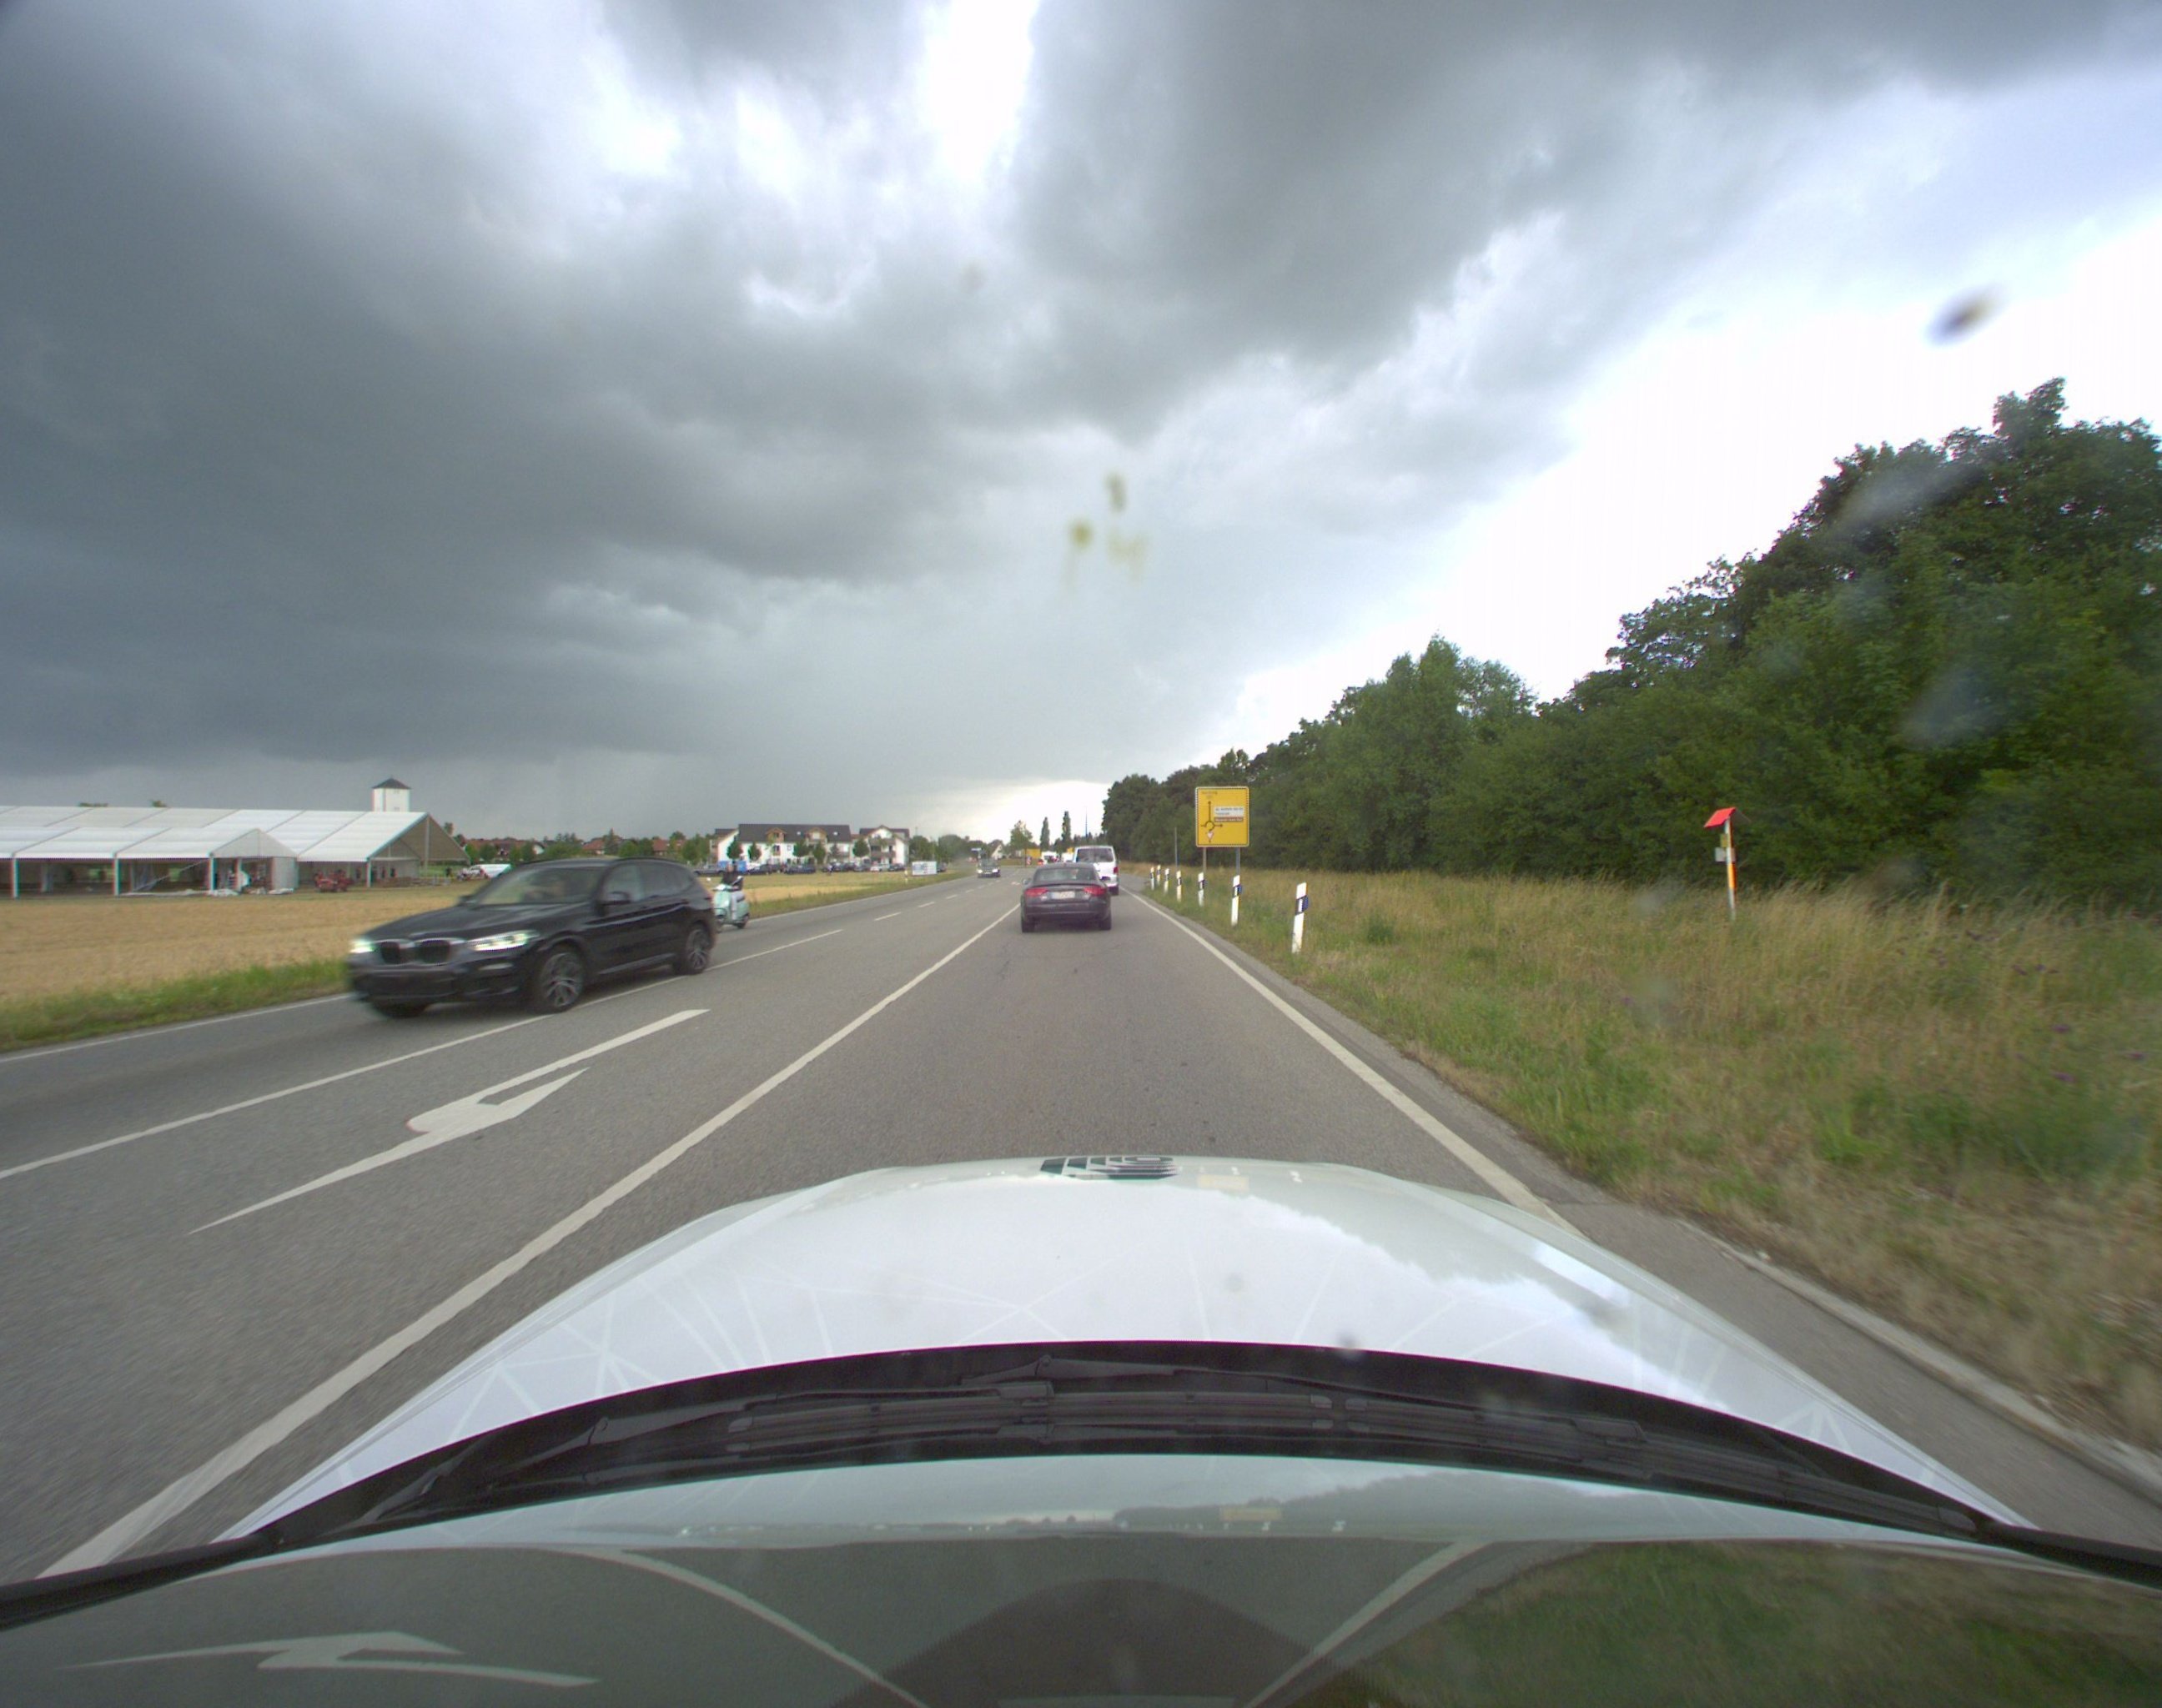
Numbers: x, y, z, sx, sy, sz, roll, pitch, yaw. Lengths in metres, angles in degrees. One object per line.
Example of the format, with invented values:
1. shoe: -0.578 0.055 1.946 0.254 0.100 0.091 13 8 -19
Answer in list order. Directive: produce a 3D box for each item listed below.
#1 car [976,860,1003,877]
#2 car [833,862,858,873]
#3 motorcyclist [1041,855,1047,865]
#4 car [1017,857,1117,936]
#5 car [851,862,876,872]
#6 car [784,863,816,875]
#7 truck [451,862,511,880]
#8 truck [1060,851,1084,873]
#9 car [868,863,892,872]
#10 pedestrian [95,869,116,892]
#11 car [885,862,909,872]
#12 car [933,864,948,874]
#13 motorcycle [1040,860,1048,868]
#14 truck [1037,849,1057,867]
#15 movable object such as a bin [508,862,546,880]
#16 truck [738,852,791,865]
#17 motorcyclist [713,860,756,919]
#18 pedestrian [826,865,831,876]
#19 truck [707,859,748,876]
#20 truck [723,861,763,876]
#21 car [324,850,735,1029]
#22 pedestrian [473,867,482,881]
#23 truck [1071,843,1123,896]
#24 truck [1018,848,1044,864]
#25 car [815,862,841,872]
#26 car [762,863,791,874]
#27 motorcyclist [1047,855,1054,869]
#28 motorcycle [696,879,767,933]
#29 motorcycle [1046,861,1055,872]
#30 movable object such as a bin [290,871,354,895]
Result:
1. car: -8.048 1.276 71.618 1.821 1.410 4.423 -2 0 0
2. car: -39.025 2.189 134.898 1.978 1.629 4.230 -1 0 17
3. motorcyclist: -5.019 0.771 110.586 0.785 1.356 0.851 -1 -1 -8
4. car: -0.334 0.816 17.607 1.870 1.454 4.174 -2 0 -2
5. car: -35.862 2.182 134.553 1.978 1.536 4.230 -1 0 17
6. car: -43.778 2.370 126.896 4.734 1.697 1.985 -1 -1 -22
7. truck: -79.082 2.232 107.444 6.080 2.217 2.695 -1 -1 -29
8. truck: -0.870 0.762 76.474 2.187 2.014 5.082 -1 0 -1
9. car: -33.096 2.195 134.238 1.978 1.446 4.230 -1 0 17
10. pedestrian: -90.933 2.485 75.924 0.863 2.102 0.939 -1 -1 -3
11. car: -30.197 2.155 133.938 1.978 1.446 4.230 -1 0 17
12. car: -21.081 2.206 121.970 1.995 1.442 3.983 -1 0 -12
13. motorcycle: -5.043 1.340 110.644 0.943 1.019 2.278 -1 0 -7
14. truck: -5.382 0.596 129.346 2.625 2.737 5.850 0 -1 -8
15. movable object such as a bin: -72.645 2.169 106.861 4.009 2.243 1.868 -1 -1 -30
16. truck: -63.560 0.953 163.807 9.327 2.530 3.295 -1 0 -4
17. motorcyclist: -8.372 0.854 19.702 0.637 1.384 0.810 -1 -1 3
18. pedestrian: -35.671 2.356 115.118 0.591 1.555 0.621 -1 -1 -20
19. truck: -51.930 1.960 119.591 5.474 2.446 2.374 -1 -1 -25
20. truck: -52.791 2.227 127.200 5.591 2.196 2.586 -1 -1 -25
21. car: -6.326 0.846 10.160 1.939 1.694 4.449 -2 0 2
22. pedestrian: -75.068 2.488 101.357 0.690 1.776 0.691 -1 -1 -17
23. truck: 0.570 0.593 33.234 1.899 1.998 4.626 -1 0 -1
24. truck: -11.870 0.391 191.617 3.588 3.578 9.890 0 0 -20
25. car: -42.544 2.213 137.023 1.978 1.629 4.230 -1 0 17
26. car: -51.734 2.486 138.400 4.644 1.697 1.985 -1 -1 -22
27. motorcyclist: -3.217 0.836 86.086 0.770 1.383 0.819 -1 -1 -3
28. motorcycle: -8.366 1.226 19.610 0.723 1.149 2.026 -1 0 3
29. motorcycle: -3.205 1.303 86.240 0.918 1.094 2.186 -1 0 -3
30. movable object such as a bin: -62.613 2.350 67.295 2.601 1.864 4.437 -1 -1 -24
